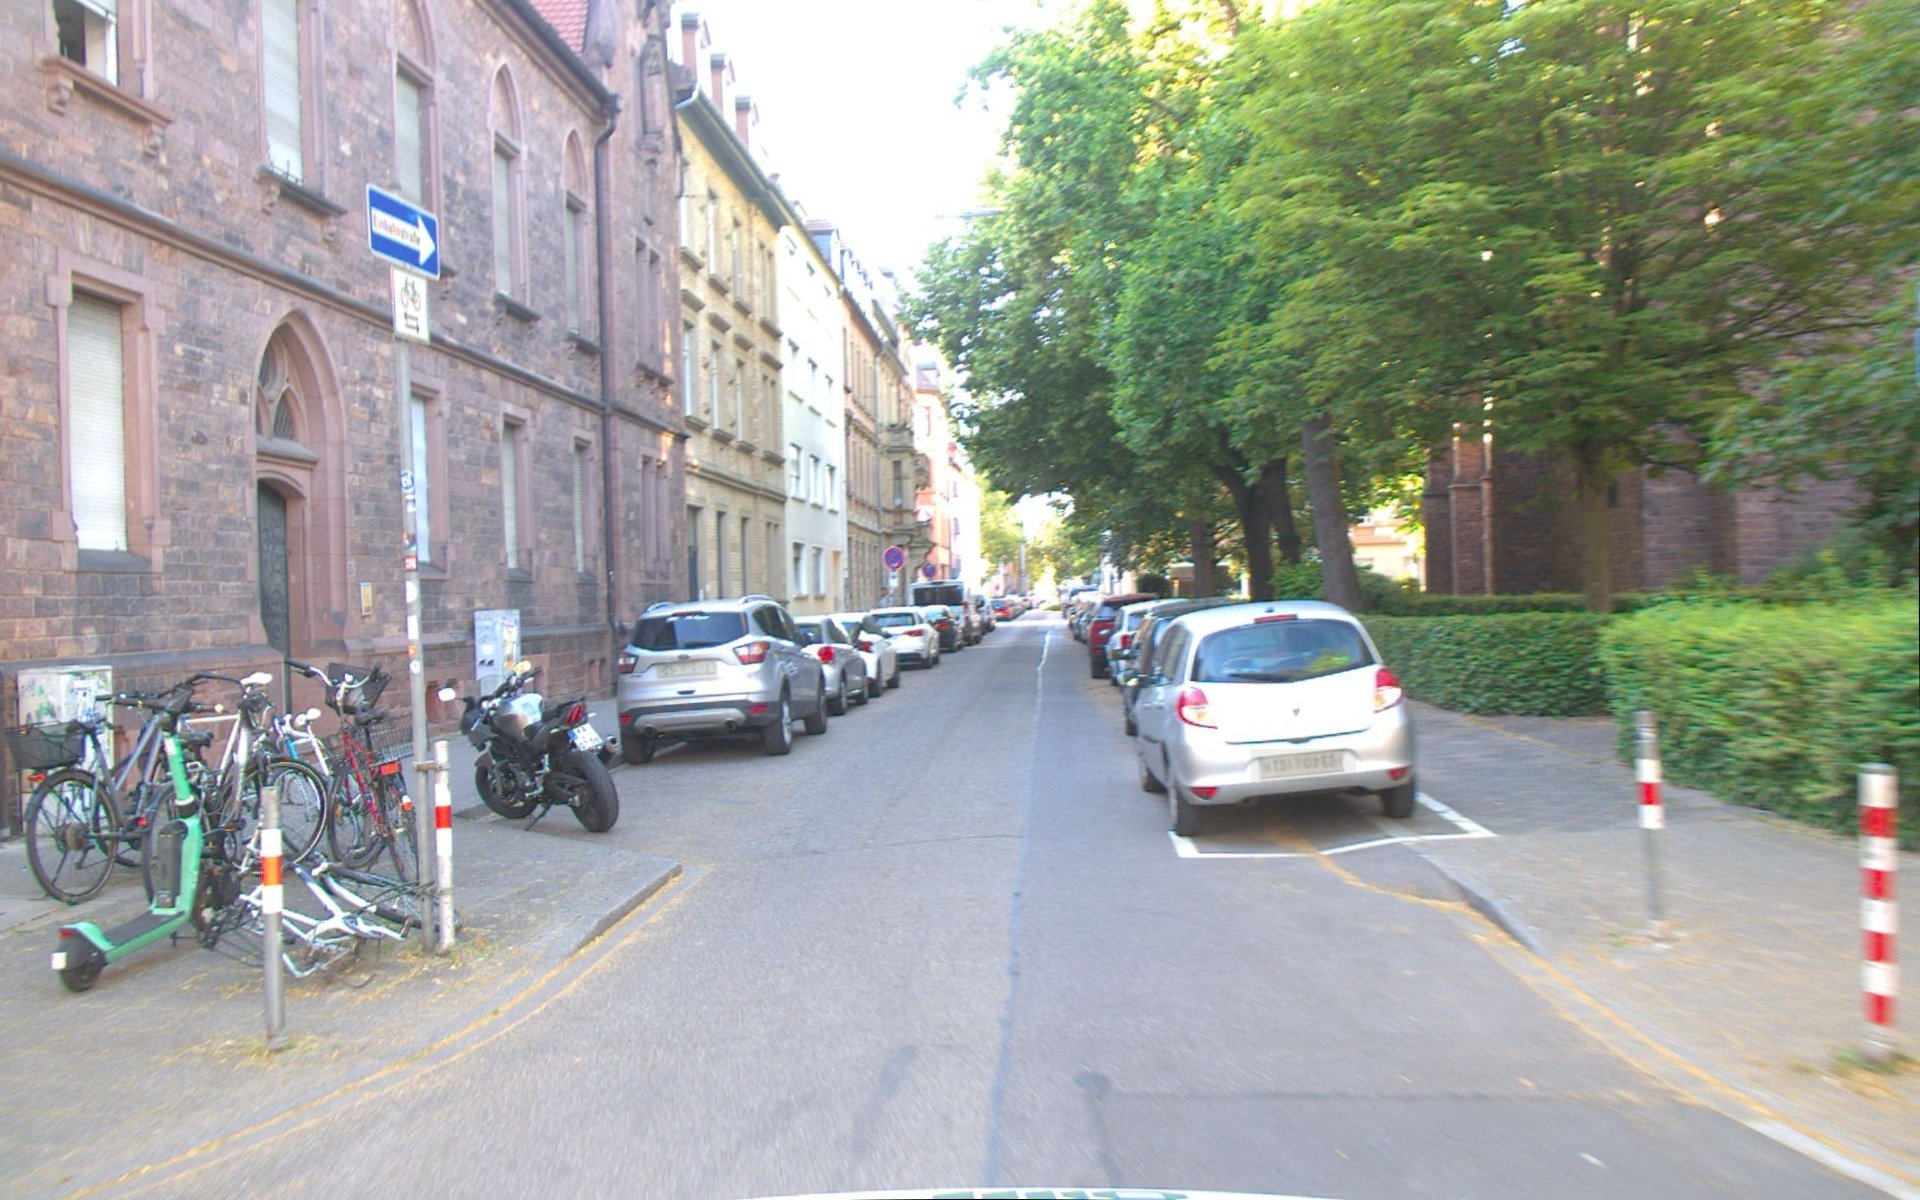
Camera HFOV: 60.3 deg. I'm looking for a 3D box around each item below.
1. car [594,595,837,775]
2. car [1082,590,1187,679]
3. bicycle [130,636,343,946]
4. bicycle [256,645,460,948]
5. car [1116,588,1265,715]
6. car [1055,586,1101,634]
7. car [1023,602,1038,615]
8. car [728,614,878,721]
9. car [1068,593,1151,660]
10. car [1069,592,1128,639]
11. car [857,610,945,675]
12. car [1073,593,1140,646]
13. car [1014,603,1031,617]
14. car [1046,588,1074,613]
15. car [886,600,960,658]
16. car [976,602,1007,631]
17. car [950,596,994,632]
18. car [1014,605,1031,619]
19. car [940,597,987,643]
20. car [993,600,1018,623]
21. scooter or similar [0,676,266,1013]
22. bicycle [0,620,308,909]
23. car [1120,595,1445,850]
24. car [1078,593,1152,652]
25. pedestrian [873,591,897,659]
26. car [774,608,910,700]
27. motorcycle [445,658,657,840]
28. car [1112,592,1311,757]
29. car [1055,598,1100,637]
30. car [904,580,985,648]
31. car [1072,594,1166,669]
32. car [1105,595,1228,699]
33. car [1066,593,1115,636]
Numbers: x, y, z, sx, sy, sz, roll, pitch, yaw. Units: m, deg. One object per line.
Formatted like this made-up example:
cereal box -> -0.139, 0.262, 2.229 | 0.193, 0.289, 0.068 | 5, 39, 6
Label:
car -> -2.666, 0.881, 18.968 | 1.842, 1.737, 4.002 | -3, 0, 4
car -> 3.496, 0.669, 33.754 | 1.855, 1.653, 4.001 | -2, 0, 3
bicycle -> -3.997, 0.957, 9.327 | 0.563, 1.448, 2.495 | -2, 0, -12
bicycle -> -3.265, 0.974, 9.187 | 0.671, 1.368, 2.495 | -2, 0, -12
car -> 3.217, 0.682, 23.726 | 1.705, 1.601, 4.001 | -2, 0, 2
car -> 5.944, 0.522, 83.677 | 2.116, 2.295, 4.527 | -2, 0, 2
car -> 9.677, 1.198, 226.294 | 1.952, 1.676, 4.001 | -2, 0, 3
car -> -2.323, 0.976, 25.438 | 1.689, 1.417, 4.002 | -2, 0, 3
car -> 3.899, 0.671, 43.626 | 1.952, 1.601, 4.001 | -2, 0, 2
car -> 5.063, 0.557, 60.959 | 1.952, 1.601, 4.001 | -2, 0, 2
car -> -1.368, 0.982, 39.615 | 1.734, 1.377, 4.002 | -2, 0, 3
car -> 4.728, 0.608, 53.900 | 1.952, 1.601, 4.001 | -2, 0, 2
car -> 7.697, 1.236, 204.067 | 1.952, 1.676, 4.001 | -2, 0, 3
car -> 7.319, 0.006, 121.533 | 1.952, 1.758, 4.002 | -2, 0, 3
car -> -1.081, 0.855, 50.238 | 1.952, 1.601, 4.001 | -2, 0, 2
car -> 2.045, 1.052, 107.073 | 1.909, 1.739, 4.001 | -2, 0, 2
car -> 0.594, 0.645, 77.538 | 1.863, 1.601, 4.001 | -2, 0, 2
car -> 7.408, 1.410, 195.515 | 1.952, 1.676, 4.001 | -2, 0, 3
car -> 0.161, 0.820, 69.202 | 1.755, 1.601, 4.003 | -2, 3, 2
car -> 3.808, 0.934, 137.827 | 1.738, 1.847, 4.003 | 1, 0, 6
scooter or similar -> -3.710, 1.029, 7.382 | 0.518, 1.299, 1.301 | -2, 0, 7
bicycle -> -4.905, 0.872, 9.970 | 0.668, 1.448, 2.799 | -2, 0, 3
car -> 2.258, 0.776, 12.583 | 1.688, 1.549, 4.000 | -2, 0, 1
car -> 4.587, 0.648, 49.390 | 1.952, 1.601, 4.001 | -2, 0, 2
pedestrian -> -2.328, 0.777, 51.058 | 0.671, 2.049, 0.691 | -2, -1, -4
car -> -2.060, 0.928, 29.947 | 1.842, 1.435, 4.002 | -3, 0, 4
motorcycle -> -3.147, 1.068, 12.540 | 0.659, 1.228, 2.279 | -1, -1, -38
car -> 2.633, 0.735, 18.105 | 1.687, 1.549, 4.001 | -2, 0, 2
car -> 5.109, 0.746, 72.314 | 1.755, 1.601, 4.223 | -2, 0, 2
car -> -0.467, 0.458, 56.913 | 2.260, 2.151, 5.172 | -2, 0, 4
car -> 3.676, 0.700, 38.806 | 1.952, 1.601, 4.001 | -2, 0, 2
car -> 3.533, 0.765, 28.910 | 1.803, 1.624, 4.001 | -2, 0, 3
car -> 5.134, 0.568, 65.320 | 1.755, 1.601, 4.001 | -2, 0, 2
